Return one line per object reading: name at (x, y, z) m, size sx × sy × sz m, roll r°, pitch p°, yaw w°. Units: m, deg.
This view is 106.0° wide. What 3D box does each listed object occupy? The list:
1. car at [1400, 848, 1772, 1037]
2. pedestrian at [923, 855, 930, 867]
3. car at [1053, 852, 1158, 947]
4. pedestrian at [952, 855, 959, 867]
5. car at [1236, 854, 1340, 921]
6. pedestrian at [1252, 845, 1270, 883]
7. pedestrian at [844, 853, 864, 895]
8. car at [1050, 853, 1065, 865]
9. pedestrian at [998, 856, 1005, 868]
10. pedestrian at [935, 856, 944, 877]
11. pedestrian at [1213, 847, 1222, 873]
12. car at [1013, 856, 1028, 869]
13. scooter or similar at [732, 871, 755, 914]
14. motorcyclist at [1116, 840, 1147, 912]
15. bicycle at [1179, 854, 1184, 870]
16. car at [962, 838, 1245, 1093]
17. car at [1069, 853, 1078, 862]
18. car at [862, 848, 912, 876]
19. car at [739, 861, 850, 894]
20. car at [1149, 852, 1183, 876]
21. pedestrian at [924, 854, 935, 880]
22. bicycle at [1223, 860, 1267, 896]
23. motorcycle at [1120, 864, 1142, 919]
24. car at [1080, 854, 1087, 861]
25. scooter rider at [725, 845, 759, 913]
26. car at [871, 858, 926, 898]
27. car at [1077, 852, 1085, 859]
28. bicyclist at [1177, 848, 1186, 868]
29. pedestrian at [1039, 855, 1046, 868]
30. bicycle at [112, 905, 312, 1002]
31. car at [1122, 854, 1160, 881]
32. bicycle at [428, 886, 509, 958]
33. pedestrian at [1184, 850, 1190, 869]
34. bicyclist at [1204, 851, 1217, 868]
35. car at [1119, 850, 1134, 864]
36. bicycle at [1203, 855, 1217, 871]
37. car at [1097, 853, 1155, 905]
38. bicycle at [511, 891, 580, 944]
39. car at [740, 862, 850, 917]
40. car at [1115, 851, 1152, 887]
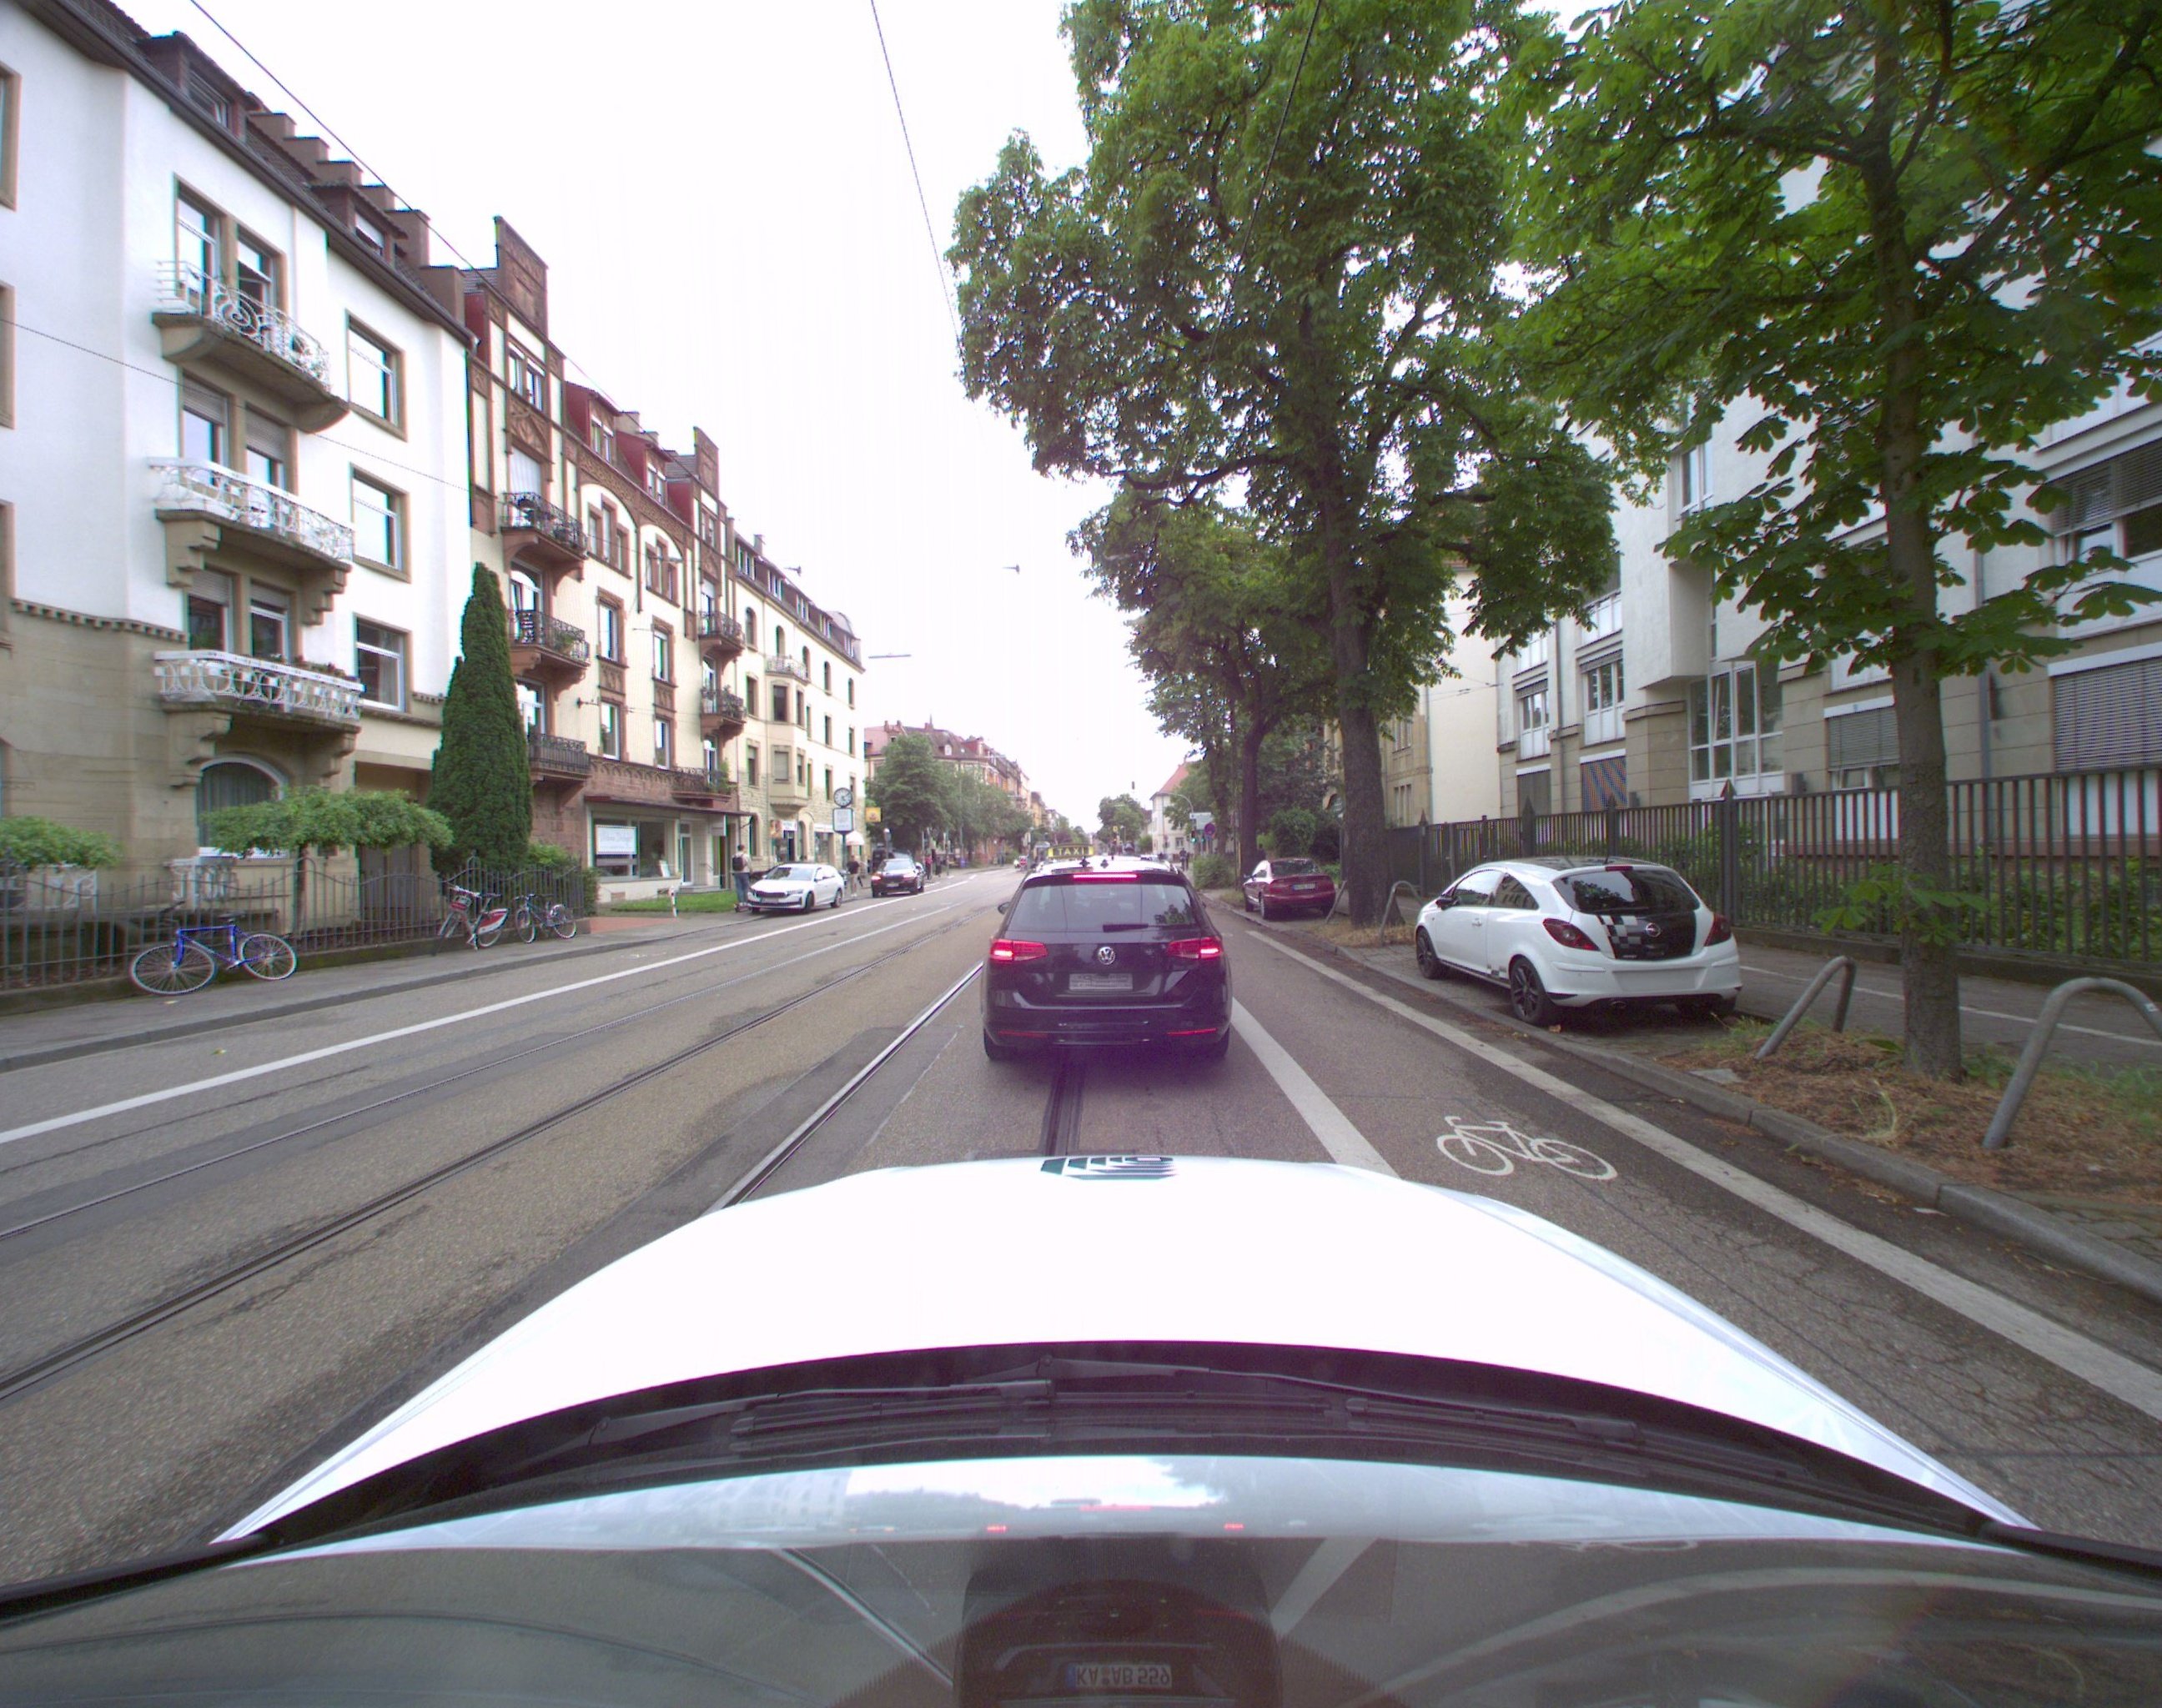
car at (4.813, 0.712, 8.466) m, size 1.596 × 1.435 × 3.779 m, roll -3°, pitch 0°, yaw 3°
pedestrian at (-20.636, 0.955, 108.436) m, size 0.582 × 1.520 × 0.653 m, roll -2°, pitch 0°, yaw 37°
car at (0.470, 0.746, 15.488) m, size 1.717 × 1.546 × 4.002 m, roll -1°, pitch 0°, yaw 2°
pedestrian at (-16.908, 0.915, 109.600) m, size 0.582 × 1.520 × 0.653 m, roll -2°, pitch 0°, yaw 37°
car at (5.089, 0.764, 20.551) m, size 1.596 × 1.399 × 4.229 m, roll -3°, pitch 0°, yaw 2°
pedestrian at (8.617, 0.465, 39.020) m, size 0.630 × 1.815 × 0.726 m, roll -2°, pitch 0°, yaw -1°
pedestrian at (-10.079, 0.884, 36.165) m, size 0.668 × 1.844 × 0.879 m, roll -2°, pitch 0°, yaw -9°
car at (-3.588, 0.755, 125.956) m, size 1.985 × 1.791 × 4.004 m, roll 0°, pitch -1°, yaw 4°
pedestrian at (-10.792, 1.074, 110.280) m, size 0.582 × 1.520 × 0.653 m, roll -2°, pitch 0°, yaw 37°
pedestrian at (-11.308, 0.991, 65.183) m, size 0.587 × 1.663 × 0.839 m, roll -2°, pitch 0°, yaw -2°
pedestrian at (10.075, 0.448, 60.064) m, size 0.510 × 1.831 × 0.420 m, roll -5°, pitch 0°, yaw 18°
car at (-7.356, 1.001, 99.752) m, size 1.604 × 1.422 × 3.484 m, roll -3°, pitch 0°, yaw -1°
scooter or similar at (-10.285, 1.160, 24.847) m, size 0.230 × 1.234 × 0.954 m, roll -2°, pitch 0°, yaw 2°
motorcyclist at (1.220, 0.533, 19.835) m, size 0.700 × 1.692 × 0.805 m, roll -2°, pitch 0°, yaw 1°
bicycle at (8.138, 0.627, 66.053) m, size 0.295 × 1.223 × 1.434 m, roll -2°, pitch 0°, yaw 9°
car at (0.203, 0.685, 7.038) m, size 1.717 × 1.546 × 4.002 m, roll -1°, pitch 0°, yaw 2°
car at (-1.538, 0.714, 165.281) m, size 1.715 × 1.622 × 3.864 m, roll -2°, pitch 0°, yaw 1°
car at (-17.645, 0.764, 74.029) m, size 2.197 × 2.417 × 5.316 m, roll -1°, pitch 0°, yaw -41°
car at (-13.069, 1.062, 37.338) m, size 4.415 × 1.370 × 1.878 m, roll 1°, pitch 0°, yaw -3°
car at (5.750, 0.673, 55.577) m, size 1.986 × 1.577 × 4.001 m, roll 0°, pitch -1°, yaw 2°
pedestrian at (-10.941, 0.942, 58.692) m, size 0.621 × 1.842 × 0.609 m, roll -2°, pitch 0°, yaw -1°
bicycle at (5.640, 0.819, 27.934) m, size 1.915 × 1.198 × 0.428 m, roll 0°, pitch -1°, yaw -43°
motorcycle at (1.189, 0.874, 19.764) m, size 0.445 × 1.235 × 1.907 m, roll -2°, pitch 0°, yaw 2°
car at (0.788, 0.946, 229.207) m, size 1.987 × 2.014 × 4.000 m, roll 0°, pitch -1°, yaw 1°
scooter rider at (-10.332, 0.750, 24.853) m, size 0.639 × 2.013 × 0.758 m, roll -2°, pitch 0°, yaw 1°
car at (-8.301, 1.051, 37.413) m, size 1.881 × 1.611 × 4.875 m, roll -4°, pitch 0°, yaw -7°
car at (0.089, 0.424, 194.417) m, size 1.715 × 1.622 × 3.864 m, roll -2°, pitch 0°, yaw 1°
bicyclist at (8.151, 0.334, 66.130) m, size 0.647 × 1.568 × 0.697 m, roll -2°, pitch 0°, yaw 8°
pedestrian at (-4.488, 0.829, 95.346) m, size 0.711 × 1.520 × 0.590 m, roll -2°, pitch 0°, yaw 3°
bicycle at (-10.829, 1.201, 10.244) m, size 0.356 × 0.928 × 1.663 m, roll -21°, pitch -1°, yaw 4°
car at (3.528, 0.749, 47.137) m, size 1.881 × 1.408 × 4.009 m, roll -2°, pitch 0°, yaw 8°
bicycle at (-10.556, 1.138, 14.081) m, size 0.385 × 1.102 × 1.620 m, roll -2°, pitch 0°, yaw -9°
pedestrian at (8.936, 0.439, 68.735) m, size 0.447 × 1.562 × 0.480 m, roll -2°, pitch 0°, yaw 9°
bicyclist at (9.985, 0.413, 62.844) m, size 0.699 × 1.302 × 0.646 m, roll -2°, pitch 0°, yaw -36°
car at (6.643, 0.482, 118.994) m, size 2.025 × 2.014 × 4.001 m, roll 0°, pitch -1°, yaw 2°
bicycle at (9.967, 0.689, 62.809) m, size 1.162 × 1.196 × 0.250 m, roll -2°, pitch 0°, yaw -37°
car at (1.432, 0.755, 26.696) m, size 1.717 × 1.546 × 4.002 m, roll -1°, pitch 0°, yaw 2°
bicycle at (-10.711, 1.253, 16.344) m, size 0.331 × 0.938 × 1.516 m, roll -2°, pitch 0°, yaw 1°
car at (-8.923, 1.052, 25.822) m, size 1.741 × 1.484 × 4.610 m, roll -2°, pitch 0°, yaw 1°
car at (2.371, 0.688, 37.642) m, size 1.600 × 1.556 × 3.579 m, roll 0°, pitch -1°, yaw 2°
